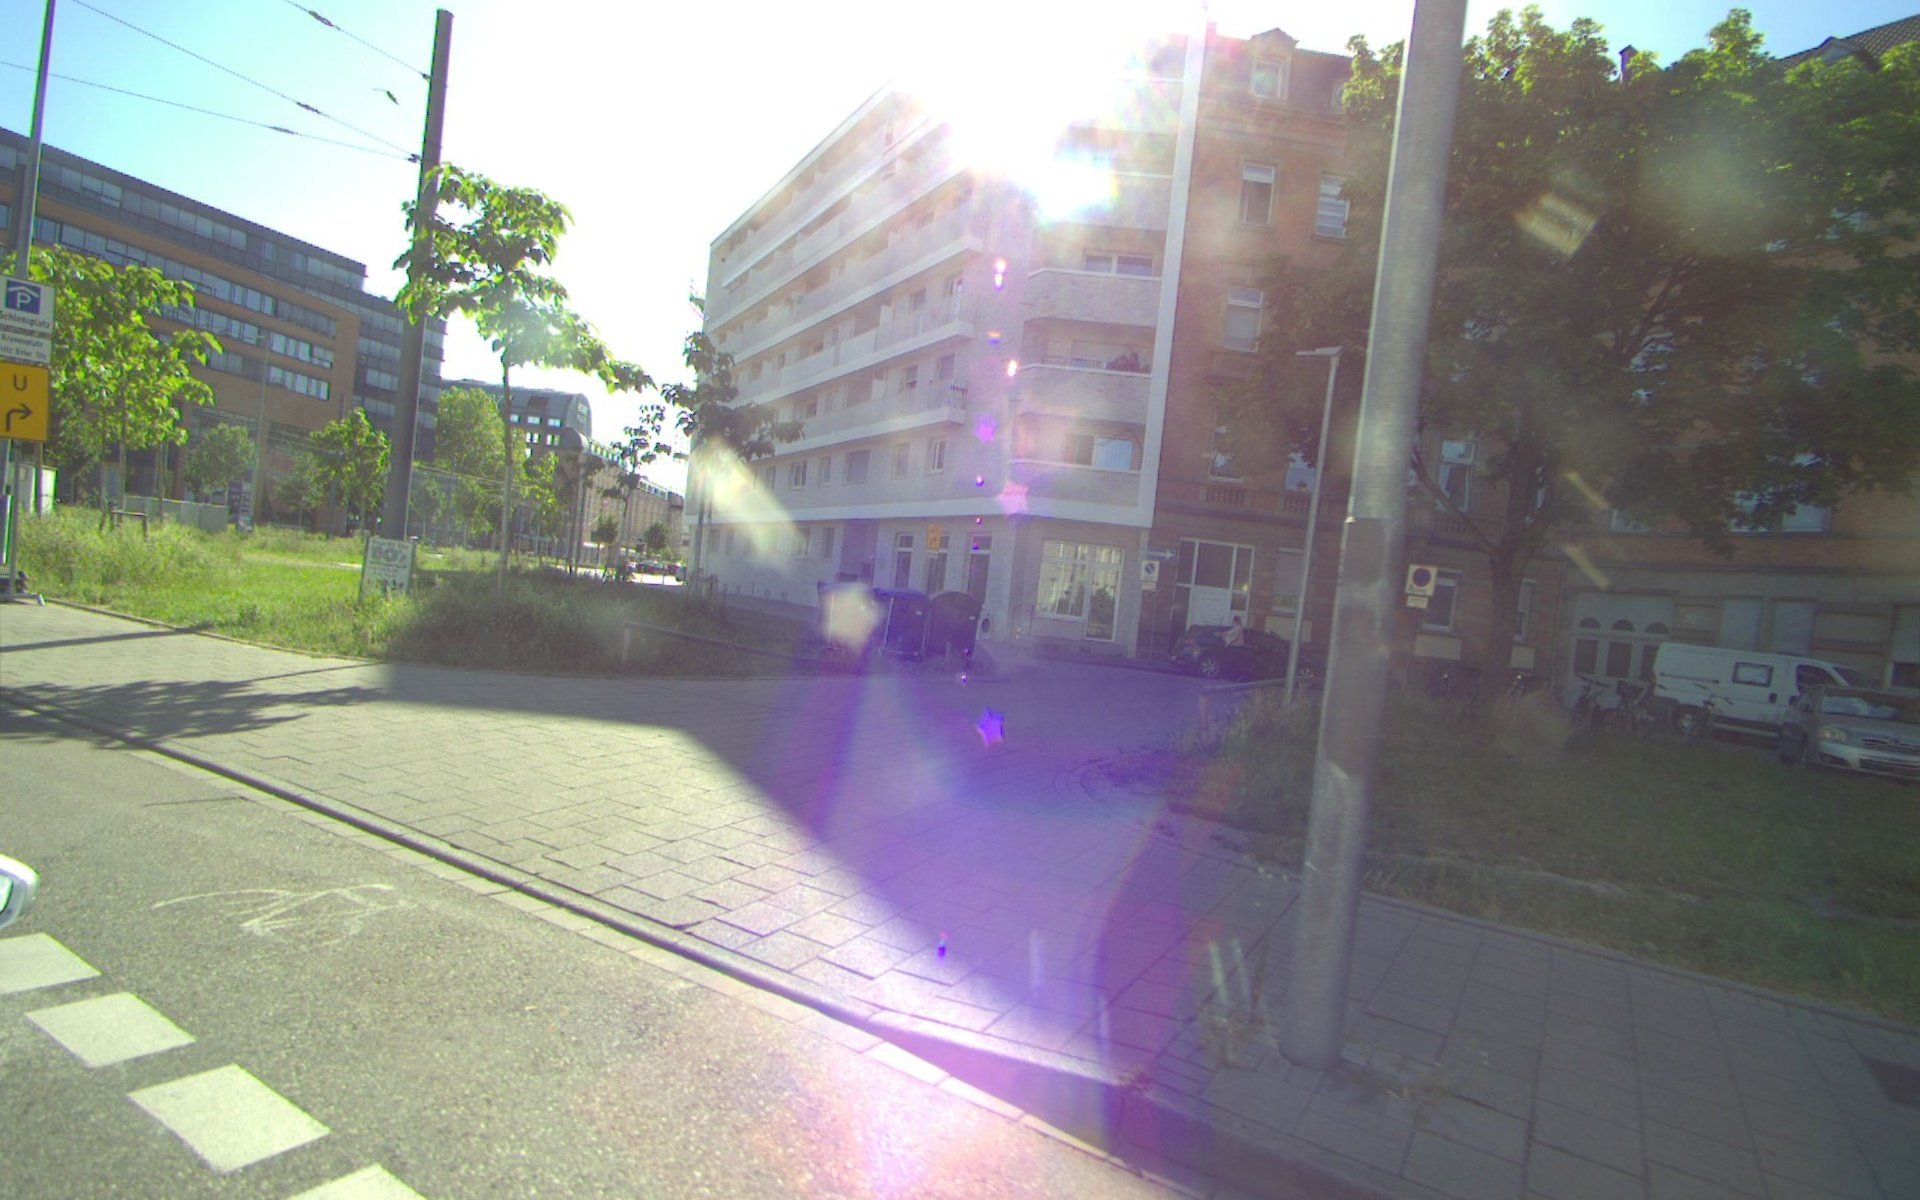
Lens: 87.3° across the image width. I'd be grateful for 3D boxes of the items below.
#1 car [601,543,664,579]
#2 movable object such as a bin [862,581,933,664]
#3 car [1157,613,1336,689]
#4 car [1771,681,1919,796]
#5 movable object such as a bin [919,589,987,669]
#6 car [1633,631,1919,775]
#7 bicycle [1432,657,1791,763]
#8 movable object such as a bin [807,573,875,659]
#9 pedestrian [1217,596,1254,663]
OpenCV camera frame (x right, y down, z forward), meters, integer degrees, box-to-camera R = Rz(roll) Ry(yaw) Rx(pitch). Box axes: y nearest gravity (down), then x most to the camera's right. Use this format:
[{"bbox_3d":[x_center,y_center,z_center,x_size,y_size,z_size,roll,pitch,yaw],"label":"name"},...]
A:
[{"bbox_3d":[-23.408,-2.751,72.027,3.937,2.039,1.994,7,1,-15],"label":"car"},{"bbox_3d":[-1.221,0.406,19.323,1.092,1.416,1.318,6,1,-10],"label":"movable object such as a bin"},{"bbox_3d":[7.515,1.313,26.664,4.033,1.454,1.999,7,0,-3],"label":"car"},{"bbox_3d":[13.642,2.019,15.141,1.810,1.354,4.043,7,1,35],"label":"car"},{"bbox_3d":[-0.154,0.557,19.755,1.015,1.416,1.088,6,1,-10],"label":"movable object such as a bin"},{"bbox_3d":[18.920,2.229,23.042,2.329,2.389,5.146,4,2,-29],"label":"car"},{"bbox_3d":[12.377,2.060,19.492,2.658,1.141,5.171,7,0,-35],"label":"bicycle"},{"bbox_3d":[-2.226,0.276,18.658,1.054,1.416,1.301,6,1,-10],"label":"movable object such as a bin"},{"bbox_3d":[6.893,0.737,25.176,0.630,1.597,0.772,6,1,7],"label":"pedestrian"}]
